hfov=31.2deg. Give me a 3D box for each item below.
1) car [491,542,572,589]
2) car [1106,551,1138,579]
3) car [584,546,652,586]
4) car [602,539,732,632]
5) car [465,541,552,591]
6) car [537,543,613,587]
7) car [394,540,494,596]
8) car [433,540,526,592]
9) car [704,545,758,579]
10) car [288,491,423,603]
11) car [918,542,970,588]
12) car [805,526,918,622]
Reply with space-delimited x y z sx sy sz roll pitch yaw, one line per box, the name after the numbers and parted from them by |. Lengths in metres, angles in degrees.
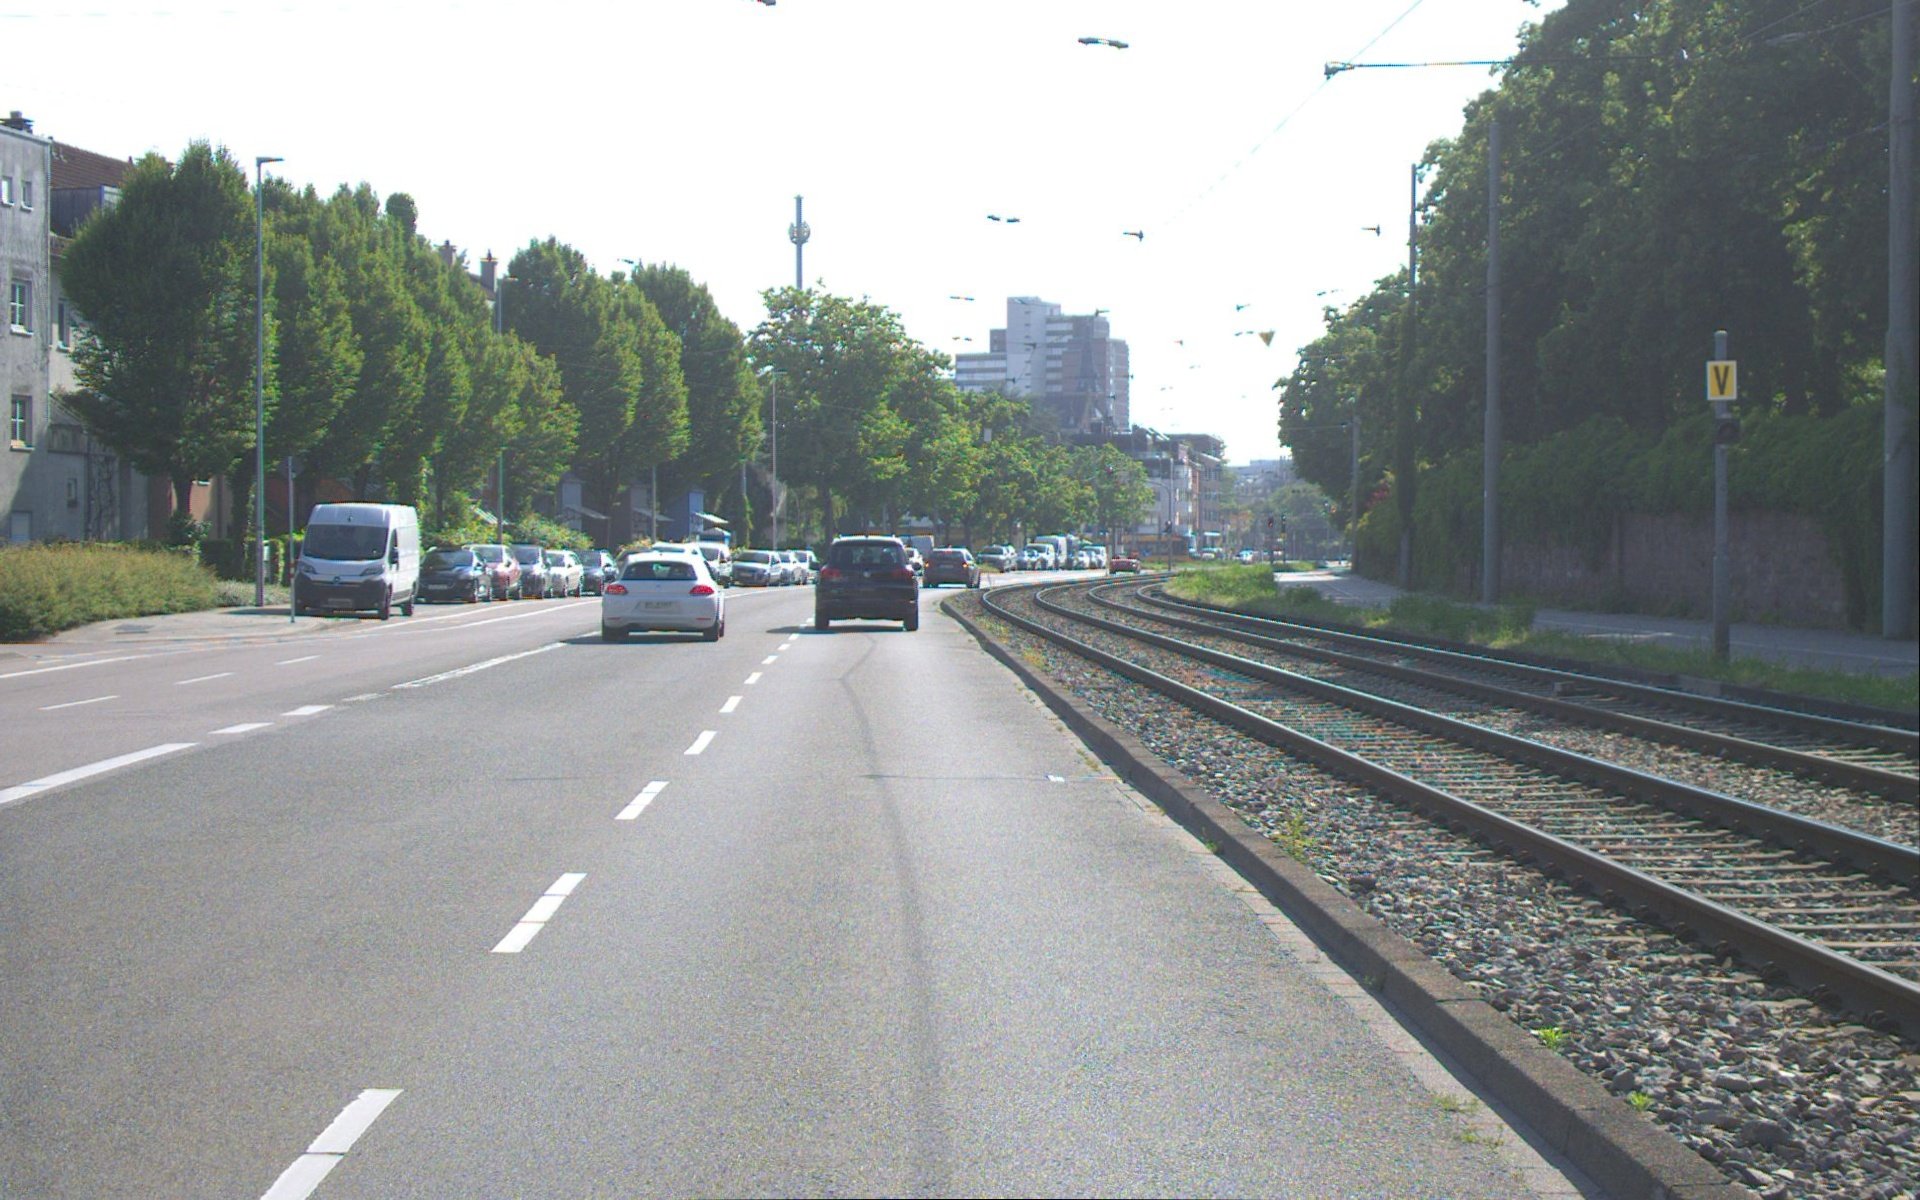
-13.396 -1.095 107.633 1.993 1.411 3.844 0 1 1 | car
9.441 -2.050 200.052 1.724 1.587 3.601 2 1 5 | car
-12.415 -1.242 125.020 1.993 1.411 3.844 0 1 1 | car
-4.585 -0.248 54.147 1.781 1.351 3.601 2 1 -1 | car
-13.429 -1.030 102.445 1.993 1.411 3.844 0 1 1 | car
-12.701 -1.166 113.556 1.993 1.411 3.844 0 1 1 | car
-13.583 -0.857 90.706 1.993 1.411 3.844 0 1 1 | car
-13.491 -0.968 96.739 1.993 1.411 3.844 0 1 1 | car
-9.756 -1.637 146.521 1.993 1.411 3.844 0 1 1 | car
-13.212 -1.169 75.359 1.993 2.368 4.538 0 1 2 | car
-0.557 -1.279 123.574 1.724 1.587 3.601 2 1 2 | car
-1.770 -0.487 60.583 1.724 1.587 3.602 2 1 -5 | car
